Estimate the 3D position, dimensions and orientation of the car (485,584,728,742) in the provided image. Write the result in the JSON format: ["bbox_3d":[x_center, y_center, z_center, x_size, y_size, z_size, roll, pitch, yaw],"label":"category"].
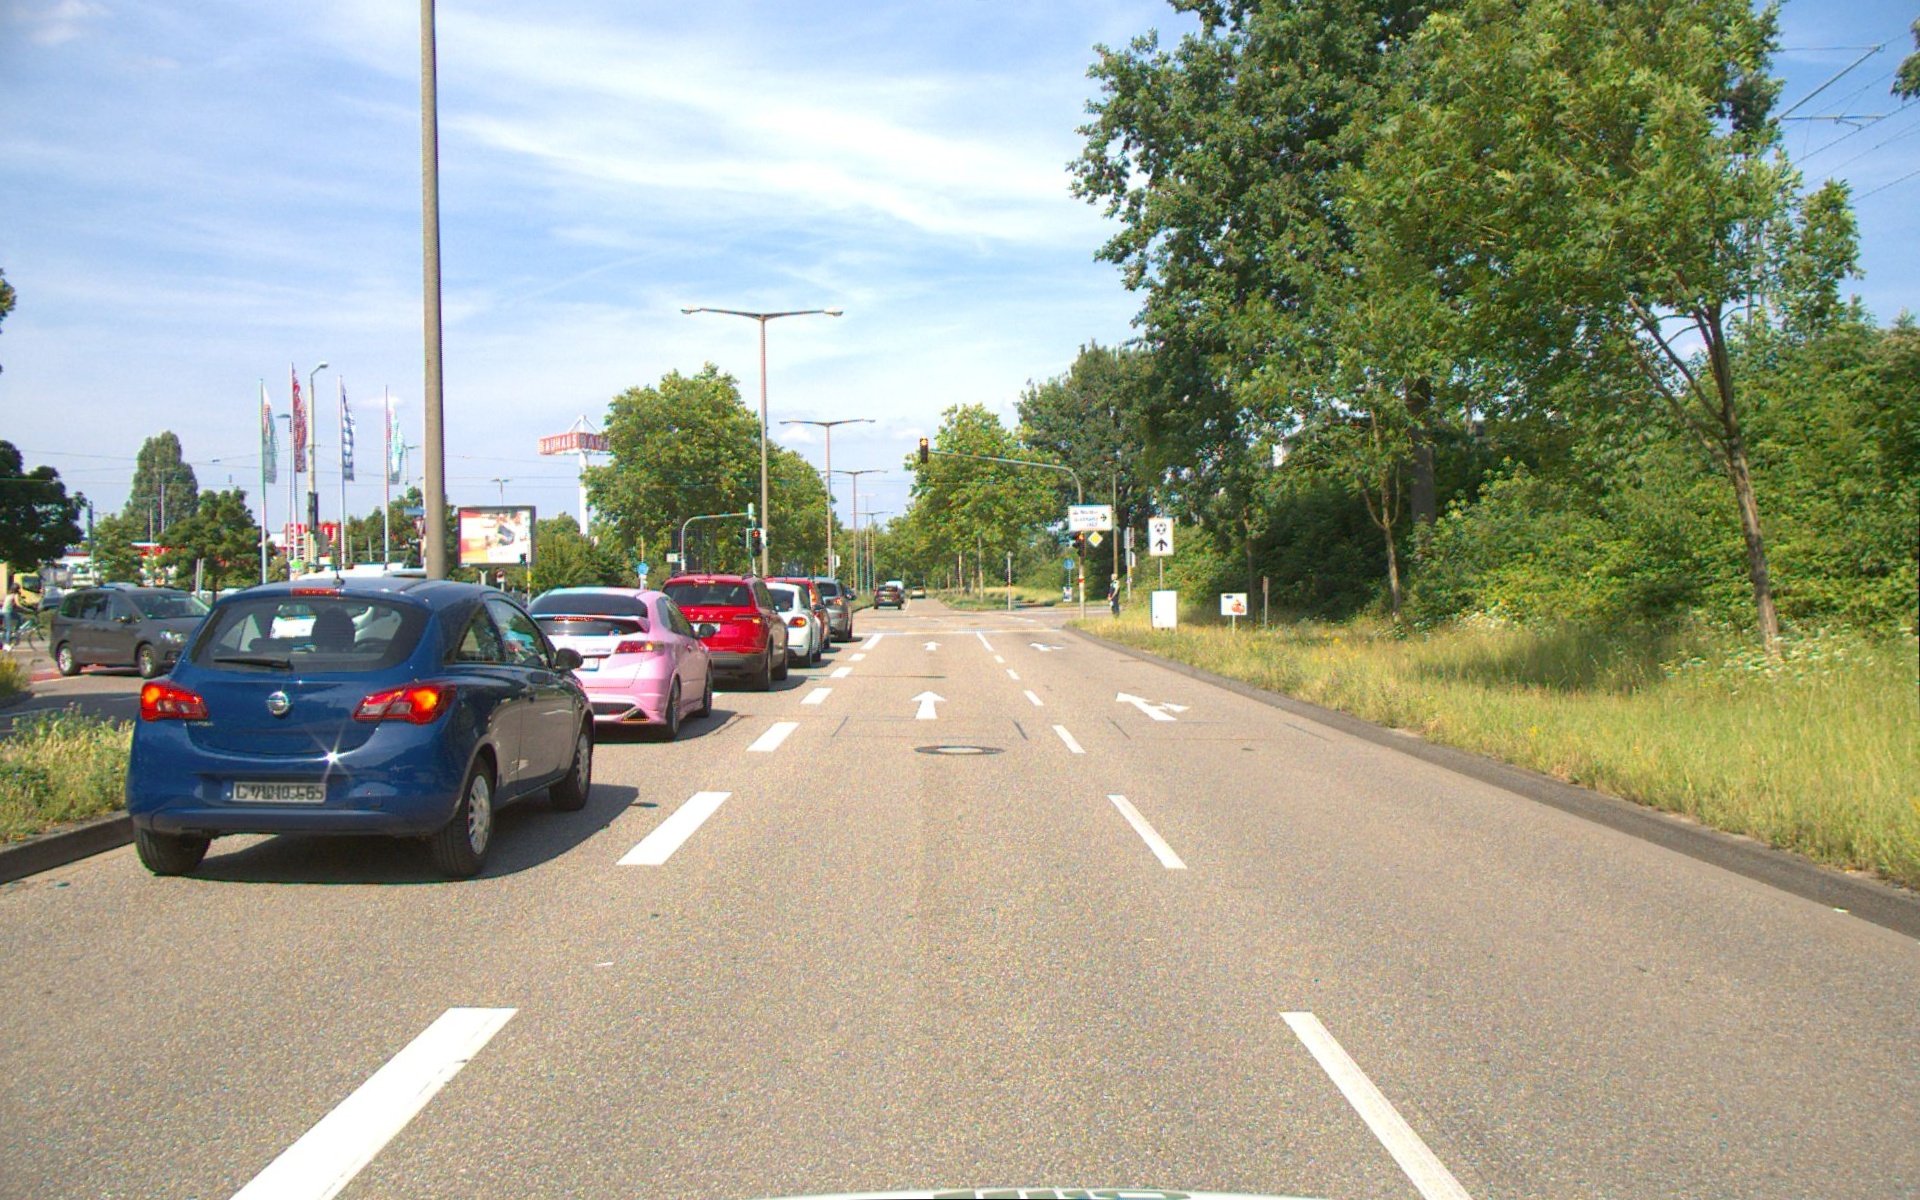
[{"bbox_3d":[-3.516,0.549,17.220,1.668,1.414,4.471,1,1,-2],"label":"car"}]

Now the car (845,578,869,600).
[{"bbox_3d":[-9.305,-1.000,149.277,1.953,1.928,4.375,-1,1,-1],"label":"car"}]

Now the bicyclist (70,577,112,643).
[{"bbox_3d":[-24.107,0.268,45.876,0.890,1.745,0.772,-2,3,-37],"label":"bicyclist"}]

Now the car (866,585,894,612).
[{"bbox_3d":[-5.307,-0.114,110.161,1.701,1.562,4.000,0,3,-1],"label":"car"}]

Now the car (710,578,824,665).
[{"bbox_3d":[-3.528,0.349,30.786,1.730,1.505,4.134,0,1,-2],"label":"car"}]

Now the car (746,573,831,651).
[{"bbox_3d":[-3.820,0.271,37.277,1.595,1.623,3.916,-1,-1,-2],"label":"car"}]

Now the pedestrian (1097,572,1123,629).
[{"bbox_3d":[5.259,-0.001,58.003,0.821,1.966,0.771,0,2,-5],"label":"pedestrian"}]

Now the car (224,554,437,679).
[{"bbox_3d":[-11.338,0.244,30.229,1.953,2.049,5.212,-1,1,-1],"label":"car"}]

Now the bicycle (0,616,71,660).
[{"bbox_3d":[-24.931,1.009,44.195,1.989,1.057,0.735,-2,3,-38],"label":"bicycle"}]

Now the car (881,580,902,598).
[{"bbox_3d":[-6.911,-1.131,166.765,1.953,1.738,4.263,-1,0,-1],"label":"car"}]

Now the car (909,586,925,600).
[{"bbox_3d":[-5.068,-0.796,197.062,1.830,1.601,3.999,-2,0,-1],"label":"car"}]

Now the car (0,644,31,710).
[{"bbox_3d":[-22.813,1.723,36.831,3.908,1.412,1.764,-1,2,26],"label":"car"}]

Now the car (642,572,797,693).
[{"bbox_3d":[-3.453,0.412,24.495,1.746,1.620,4.592,0,1,-2],"label":"car"}]

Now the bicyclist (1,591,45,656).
[{"bbox_3d":[-24.999,0.621,44.133,0.890,1.675,0.778,-2,3,-37],"label":"bicyclist"}]

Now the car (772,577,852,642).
[{"bbox_3d":[-3.884,0.222,43.937,1.843,1.646,4.211,0,0,-2],"label":"car"}]

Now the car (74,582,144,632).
[{"bbox_3d":[-44.937,0.365,87.325,1.986,2.577,4.563,-2,1,-45],"label":"car"}]

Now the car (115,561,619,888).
[{"bbox_3d":[-3.184,0.563,9.750,1.593,1.509,4.047,1,1,-2],"label":"car"}]

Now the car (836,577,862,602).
[{"bbox_3d":[-9.011,-0.868,134.747,1.953,1.928,4.374,-1,1,-2],"label":"car"}]

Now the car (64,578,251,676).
[{"bbox_3d":[-15.985,0.527,32.870,4.321,1.781,1.858,-1,0,42],"label":"car"}]
